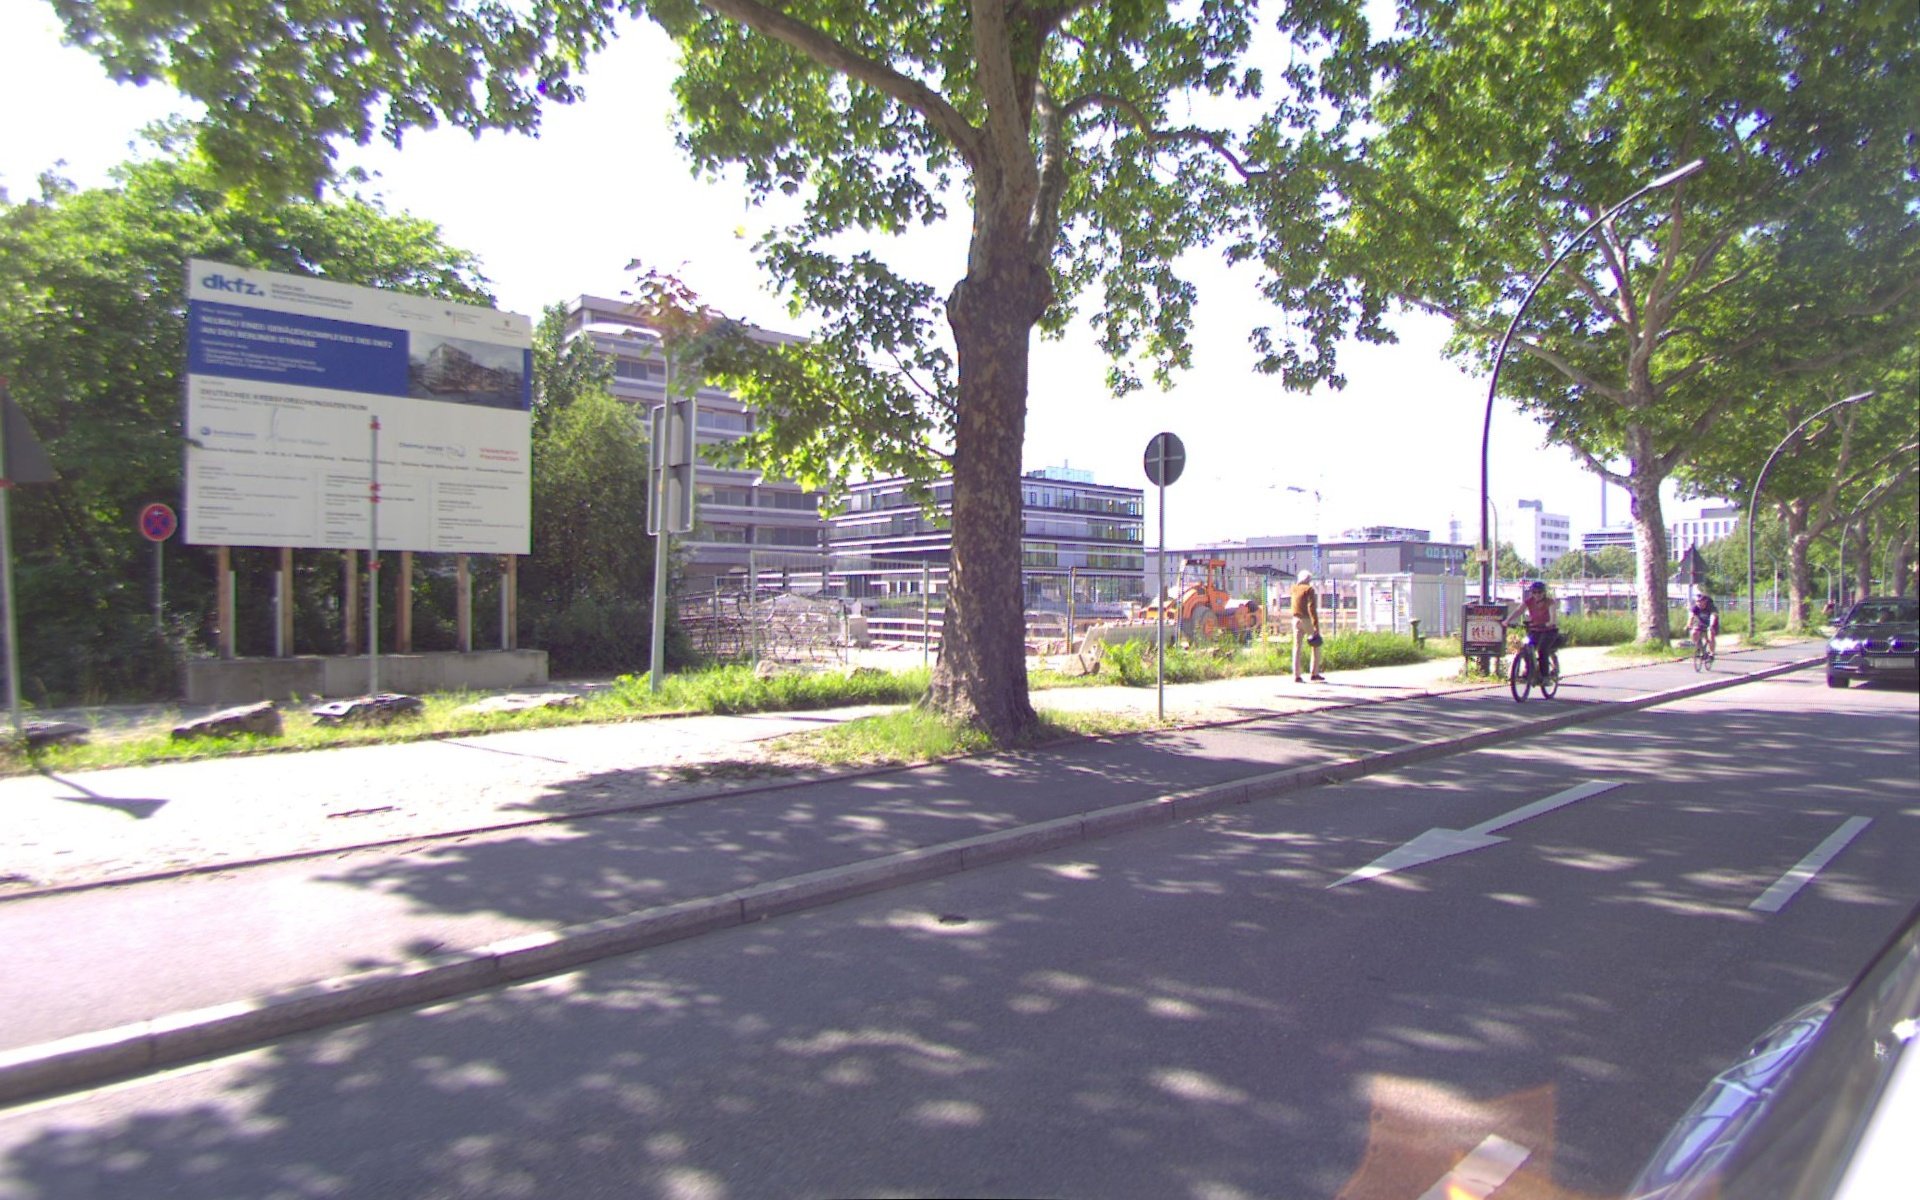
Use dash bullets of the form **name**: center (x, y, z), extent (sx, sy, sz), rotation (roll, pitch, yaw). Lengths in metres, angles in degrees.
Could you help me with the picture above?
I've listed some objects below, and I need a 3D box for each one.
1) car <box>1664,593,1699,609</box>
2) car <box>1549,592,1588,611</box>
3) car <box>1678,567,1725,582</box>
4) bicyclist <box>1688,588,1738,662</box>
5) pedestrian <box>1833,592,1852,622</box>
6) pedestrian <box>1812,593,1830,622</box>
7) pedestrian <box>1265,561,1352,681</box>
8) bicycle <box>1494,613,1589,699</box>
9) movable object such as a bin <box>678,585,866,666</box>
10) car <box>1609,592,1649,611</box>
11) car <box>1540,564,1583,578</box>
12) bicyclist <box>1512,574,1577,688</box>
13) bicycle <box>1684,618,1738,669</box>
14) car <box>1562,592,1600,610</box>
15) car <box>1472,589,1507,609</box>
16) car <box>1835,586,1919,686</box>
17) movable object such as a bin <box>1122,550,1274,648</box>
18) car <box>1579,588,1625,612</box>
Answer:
- **car**: center (106.331, 0.159, 149.124), extent (1.779, 2.352, 3.989), rotation (1, -1, -44)
- **car**: center (78.067, 0.177, 129.887), extent (1.779, 2.352, 3.989), rotation (1, -1, -44)
- **car**: center (81.027, -2.773, 110.618), extent (1.779, 1.529, 3.989), rotation (1, -1, -44)
- **bicyclist**: center (16.215, 0.522, 21.785), extent (1.194, 1.508, 0.599), rotation (1, 2, -43)
- **pedestrian**: center (51.317, 0.413, 58.853), extent (1.048, 1.746, 0.710), rotation (1, -1, -43)
- **pedestrian**: center (50.689, 0.420, 59.581), extent (0.943, 1.705, 0.696), rotation (1, -1, -43)
- **pedestrian**: center (5.852, 0.341, 16.974), extent (1.131, 1.916, 0.940), rotation (1, -1, -41)
- **bicycle**: center (8.628, 0.791, 14.973), extent (1.912, 1.143, 0.652), rotation (0, 1, -42)
- **movable object such as a bin**: center (-12.554, 1.681, 69.150), extent (11.555, 5.242, 6.754), rotation (0, 0, 1)
- **car**: center (85.831, 0.199, 129.788), extent (1.779, 2.352, 3.989), rotation (1, -1, -44)
- **car**: center (70.434, -3.393, 118.540), extent (1.779, 1.529, 3.989), rotation (1, -1, -44)
- **bicyclist**: center (8.653, 0.442, 14.976), extent (0.720, 1.620, 0.620), rotation (1, 1, -43)
- **bicycle**: center (16.122, 0.915, 21.717), extent (1.751, 0.992, 0.598), rotation (0, 2, -43)
- **car**: center (82.016, 0.169, 133.660), extent (1.779, 2.352, 3.989), rotation (1, -1, -44)
- **car**: center (74.853, -0.111, 143.135), extent (1.779, 2.774, 3.989), rotation (1, -1, -44)
- **car**: center (18.232, 0.631, 19.203), extent (4.080, 1.752, 1.922), rotation (0, -1, -42)
- **movable object such as a bin**: center (8.320, -0.018, 35.040), extent (5.887, 3.111, 2.370), rotation (0, -1, -45)
- **car**: center (76.757, 0.025, 121.079), extent (1.779, 2.774, 4.366), rotation (1, -1, -44)
